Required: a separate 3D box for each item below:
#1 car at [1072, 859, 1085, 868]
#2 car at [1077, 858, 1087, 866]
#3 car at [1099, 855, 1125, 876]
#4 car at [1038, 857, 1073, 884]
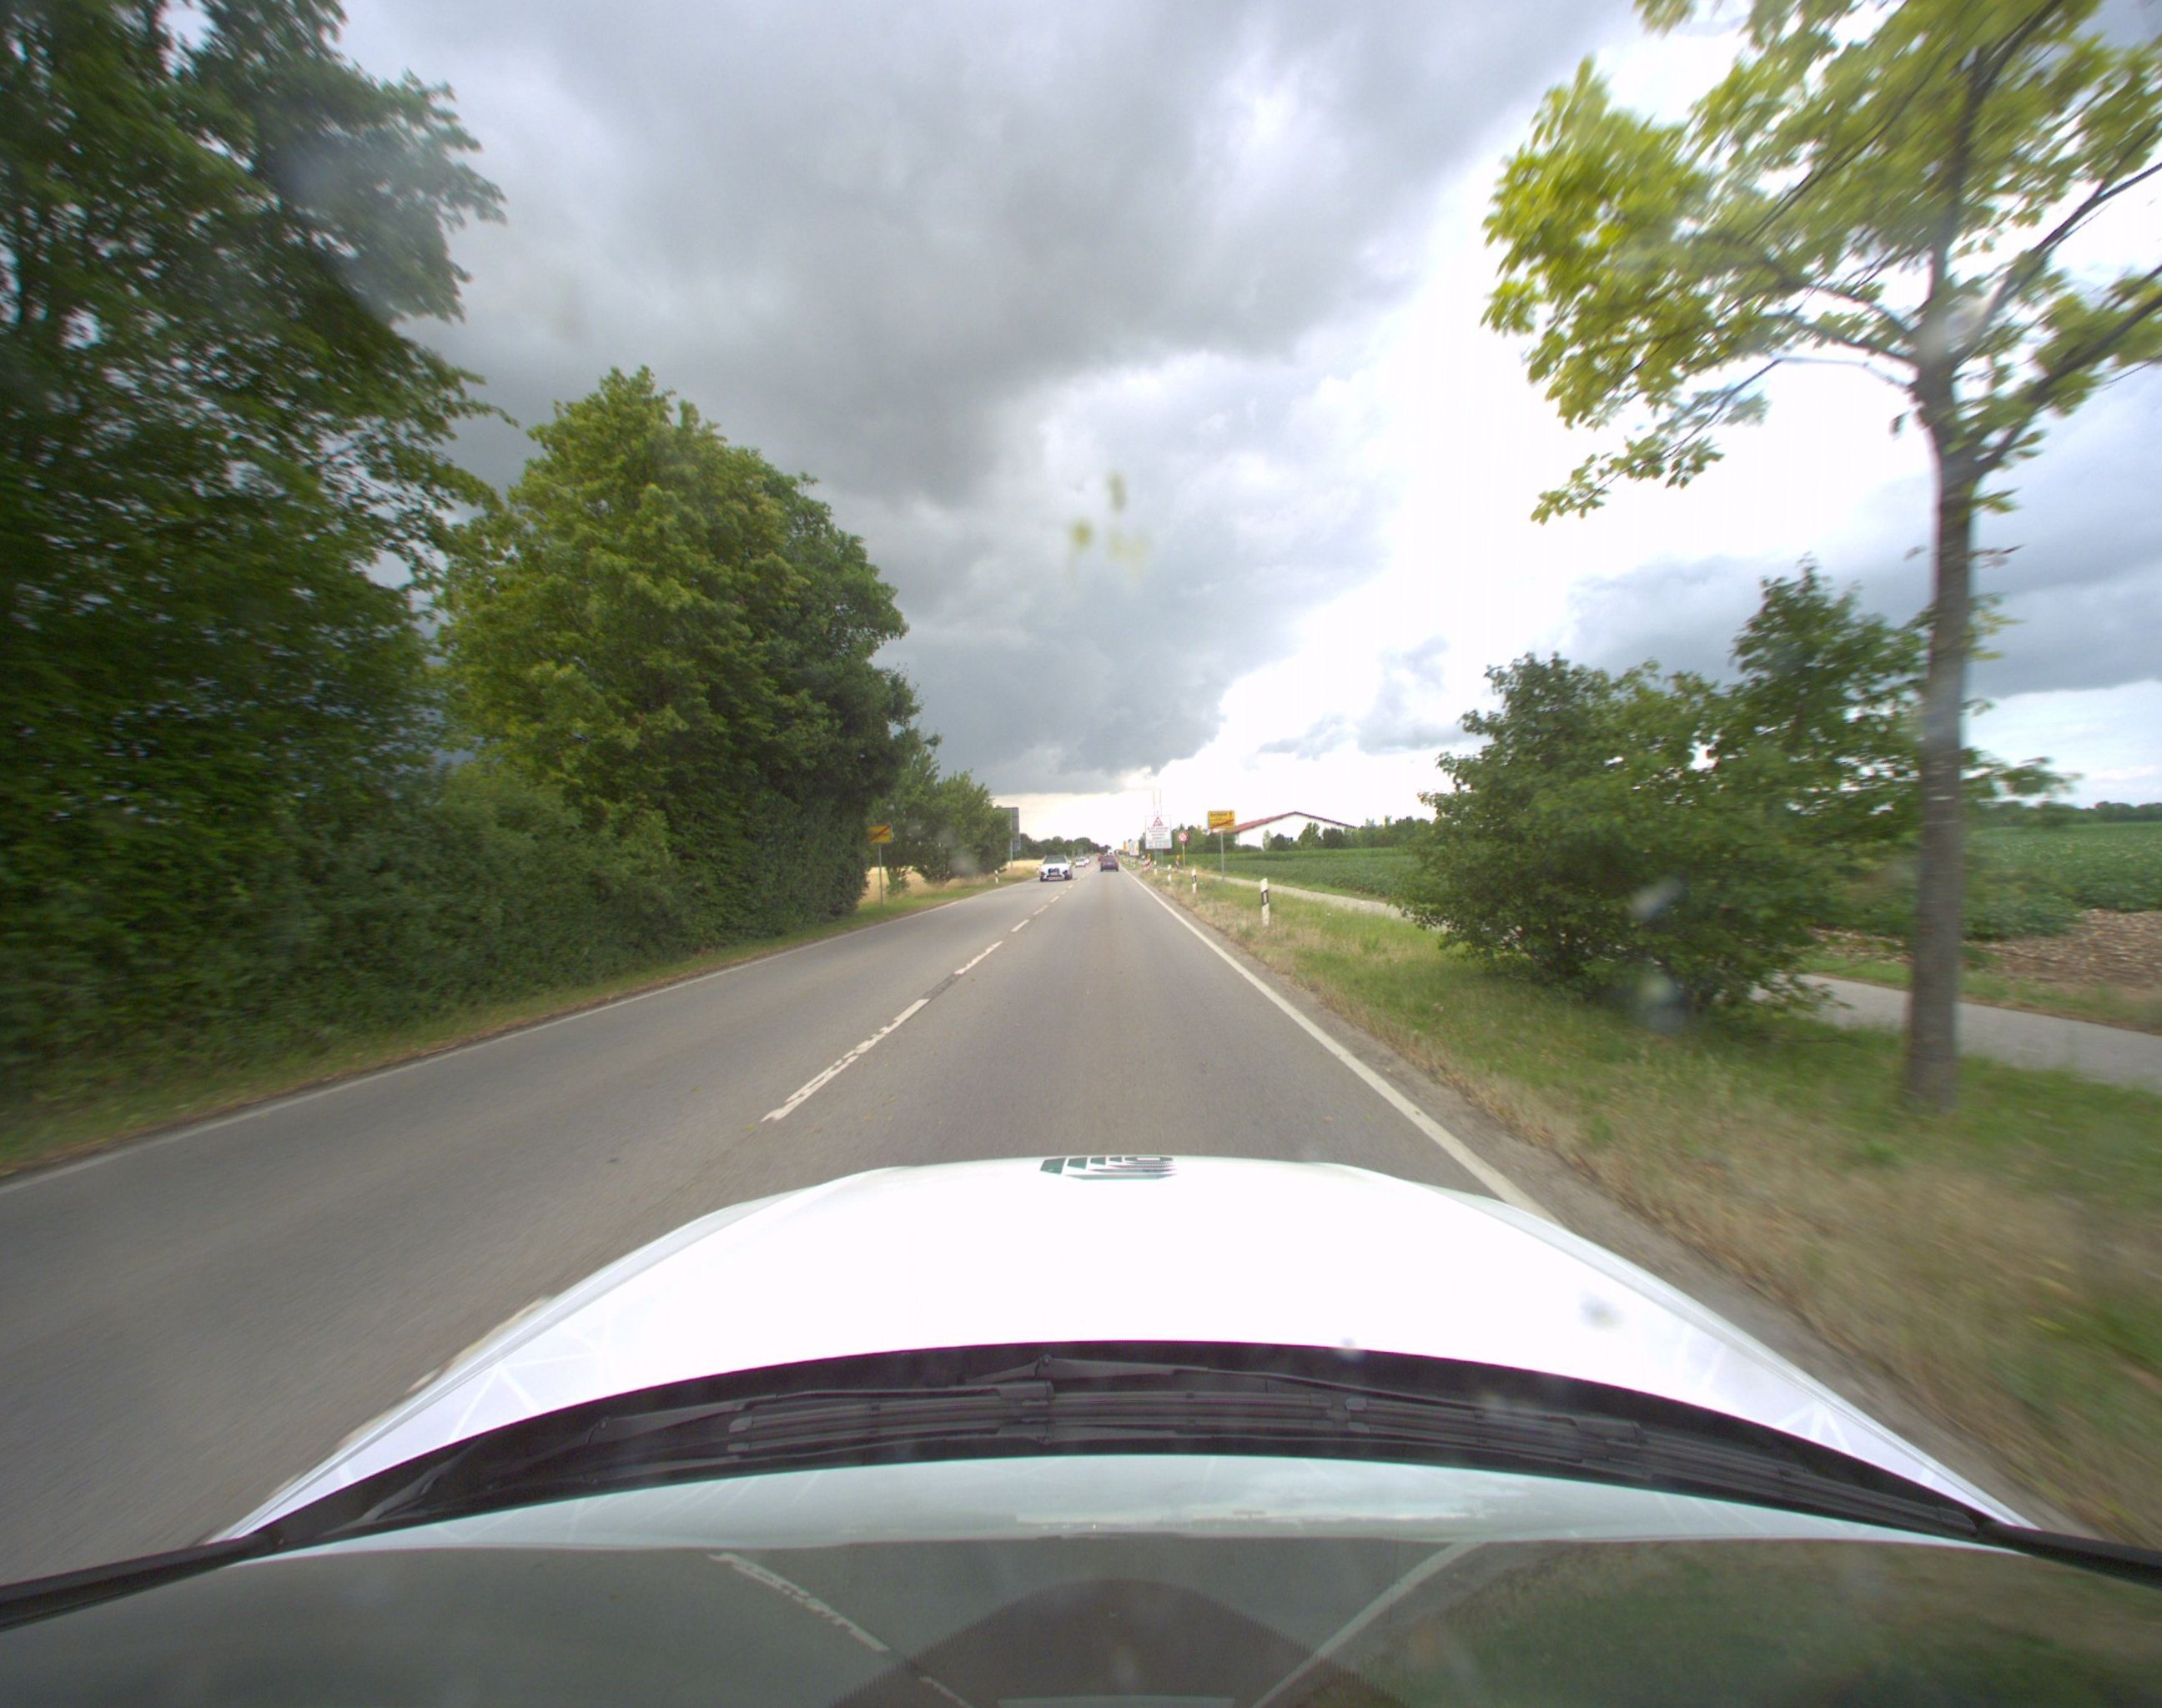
[{"bbox_3d":[-0.360,1.503,126.043,1.722,1.363,3.951,-2,0,2],"label":"car"},{"bbox_3d":[0.295,1.570,164.027,1.799,1.456,4.115,-2,0,2],"label":"car"},{"bbox_3d":[3.079,1.155,82.654,2.364,1.880,4.476,-3,-1,0],"label":"car"},{"bbox_3d":[-1.647,1.052,54.860,1.986,1.684,4.812,-2,0,2],"label":"car"}]
